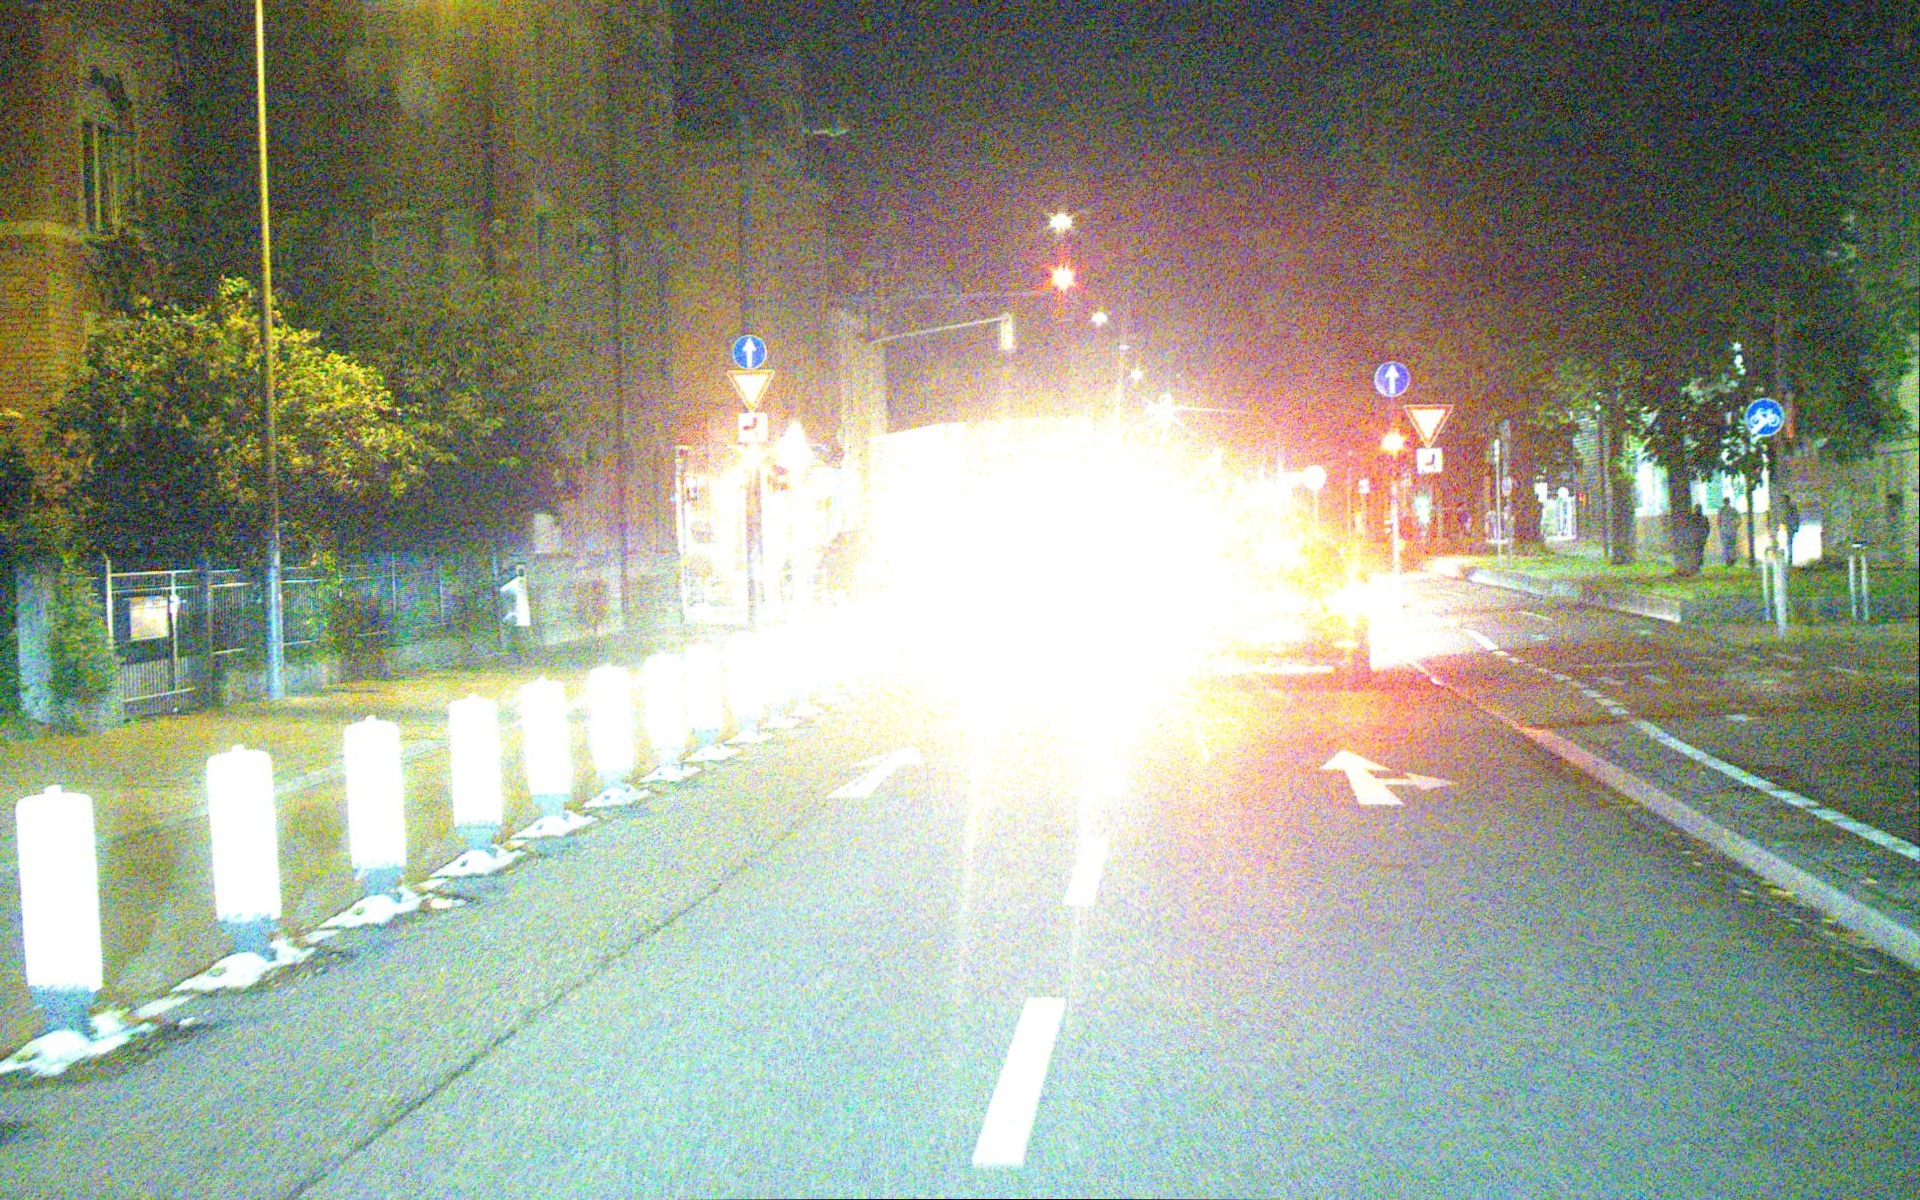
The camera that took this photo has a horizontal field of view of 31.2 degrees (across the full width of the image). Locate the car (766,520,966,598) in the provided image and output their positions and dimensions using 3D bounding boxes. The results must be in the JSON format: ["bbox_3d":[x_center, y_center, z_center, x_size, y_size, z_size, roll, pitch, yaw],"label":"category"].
[{"bbox_3d":[-2.111,-0.931,77.220,3.986,1.634,2.000,-2,1,-24],"label":"car"}]

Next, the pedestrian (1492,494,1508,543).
[{"bbox_3d":[22.425,-3.384,142.847,0.531,2.007,0.670,-2,1,3],"label":"pedestrian"}]

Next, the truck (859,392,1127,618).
[{"bbox_3d":[0.418,-1.641,63.179,2.754,3.705,10.115,-3,1,-11],"label":"truck"}]

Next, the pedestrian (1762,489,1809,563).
[{"bbox_3d":[20.077,-1.798,83.591,0.901,1.763,0.907,-3,1,4],"label":"pedestrian"}]

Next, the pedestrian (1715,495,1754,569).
[{"bbox_3d":[18.823,-1.655,83.576,0.739,1.763,0.907,-3,1,4],"label":"pedestrian"}]

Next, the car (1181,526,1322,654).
[{"bbox_3d":[3.544,-0.158,42.266,1.637,1.489,4.000,0,1,4],"label":"car"}]

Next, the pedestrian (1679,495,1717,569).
[{"bbox_3d":[17.976,-1.658,83.718,0.714,1.763,0.907,-3,1,4],"label":"pedestrian"}]

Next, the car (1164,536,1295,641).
[{"bbox_3d":[3.814,-0.194,49.192,1.729,1.430,4.210,0,1,3],"label":"car"}]

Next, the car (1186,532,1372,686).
[{"bbox_3d":[3.291,0.044,35.850,1.805,1.489,4.729,0,1,4],"label":"car"}]

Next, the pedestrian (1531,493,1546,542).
[{"bbox_3d":[24.038,-3.433,142.885,0.488,2.007,0.551,-2,1,3],"label":"pedestrian"}]
